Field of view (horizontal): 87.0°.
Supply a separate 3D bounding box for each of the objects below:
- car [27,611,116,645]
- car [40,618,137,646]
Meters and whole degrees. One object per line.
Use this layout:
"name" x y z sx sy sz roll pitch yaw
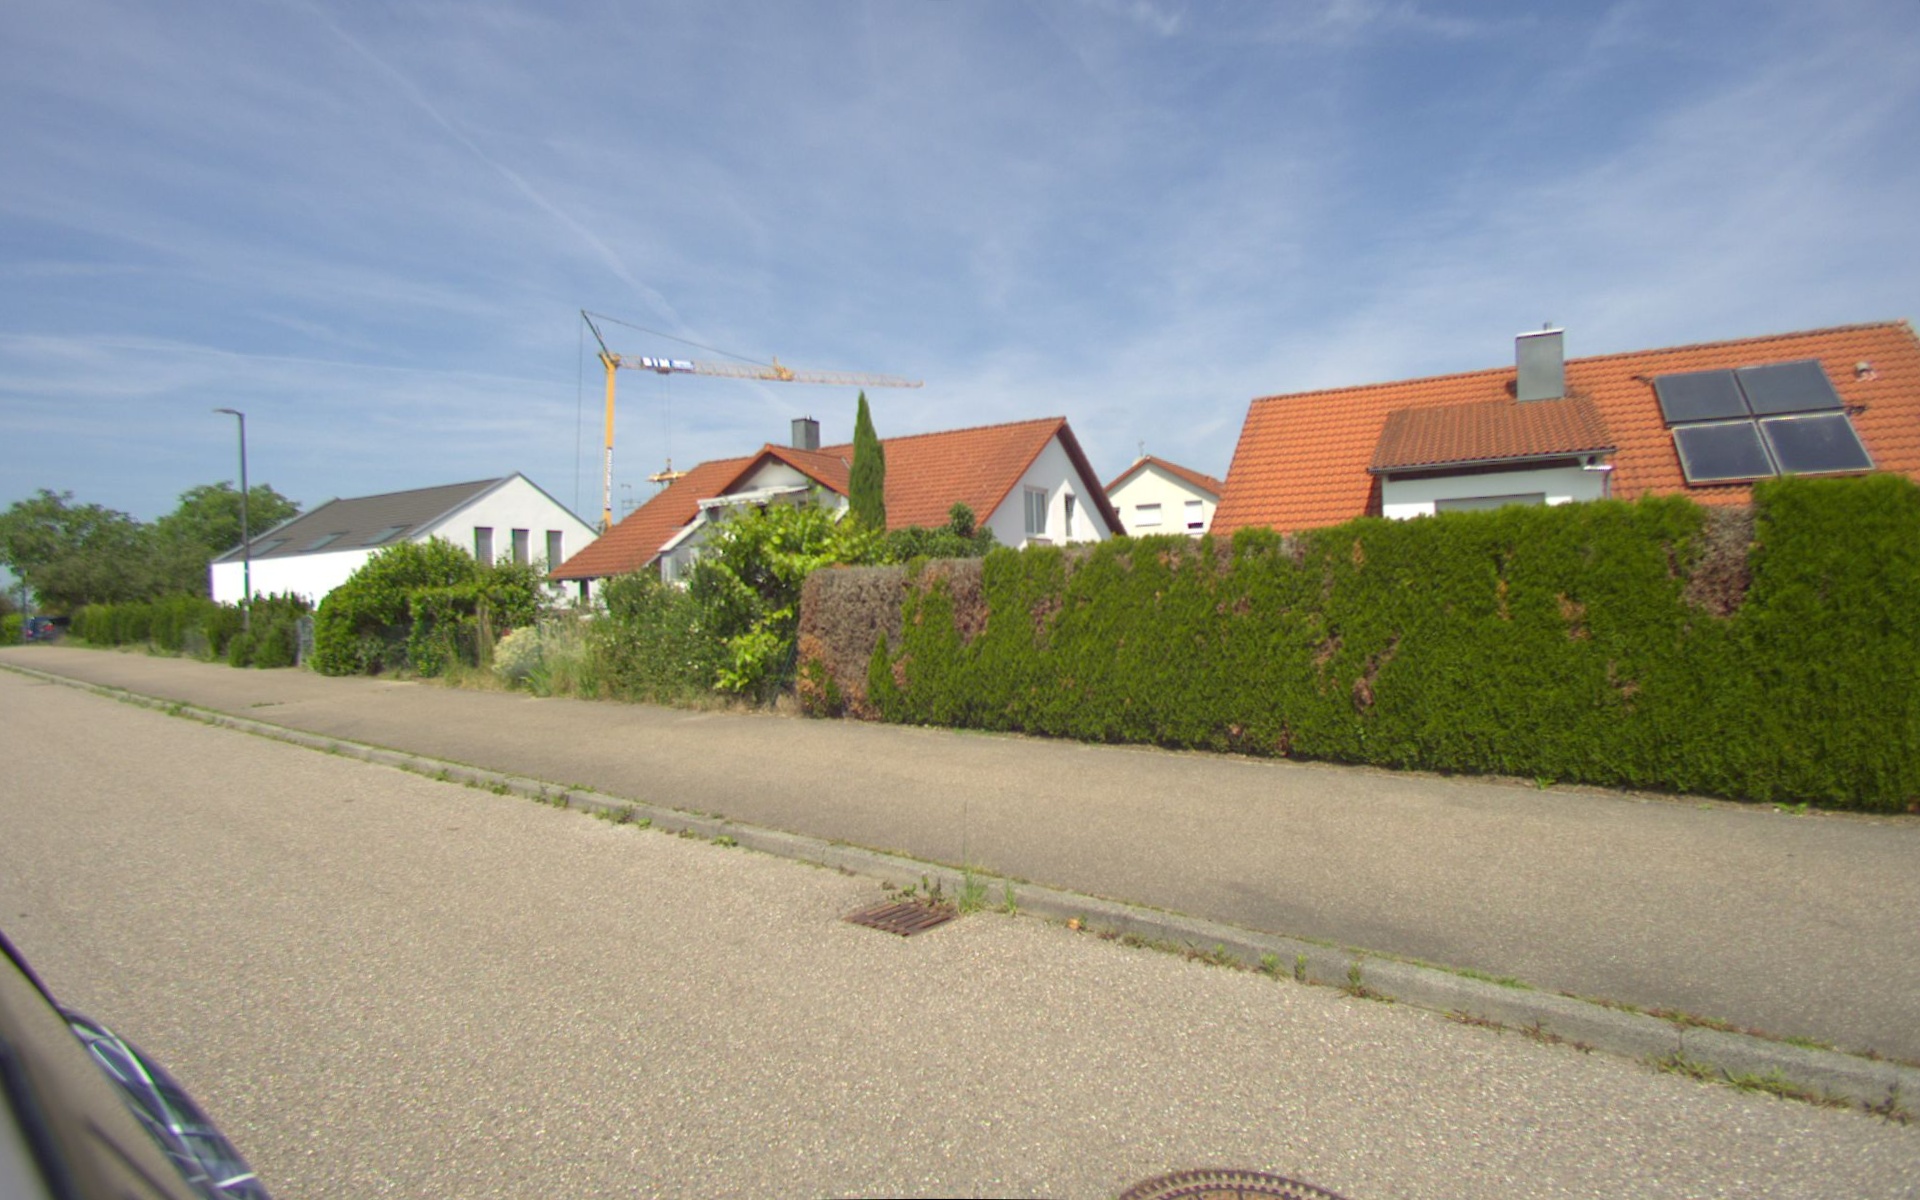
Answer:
"car" -52.965 1.661 60.364 3.832 1.826 1.801 -2 0 -45
"car" -46.989 1.701 54.581 3.832 1.331 1.801 -2 0 -45
